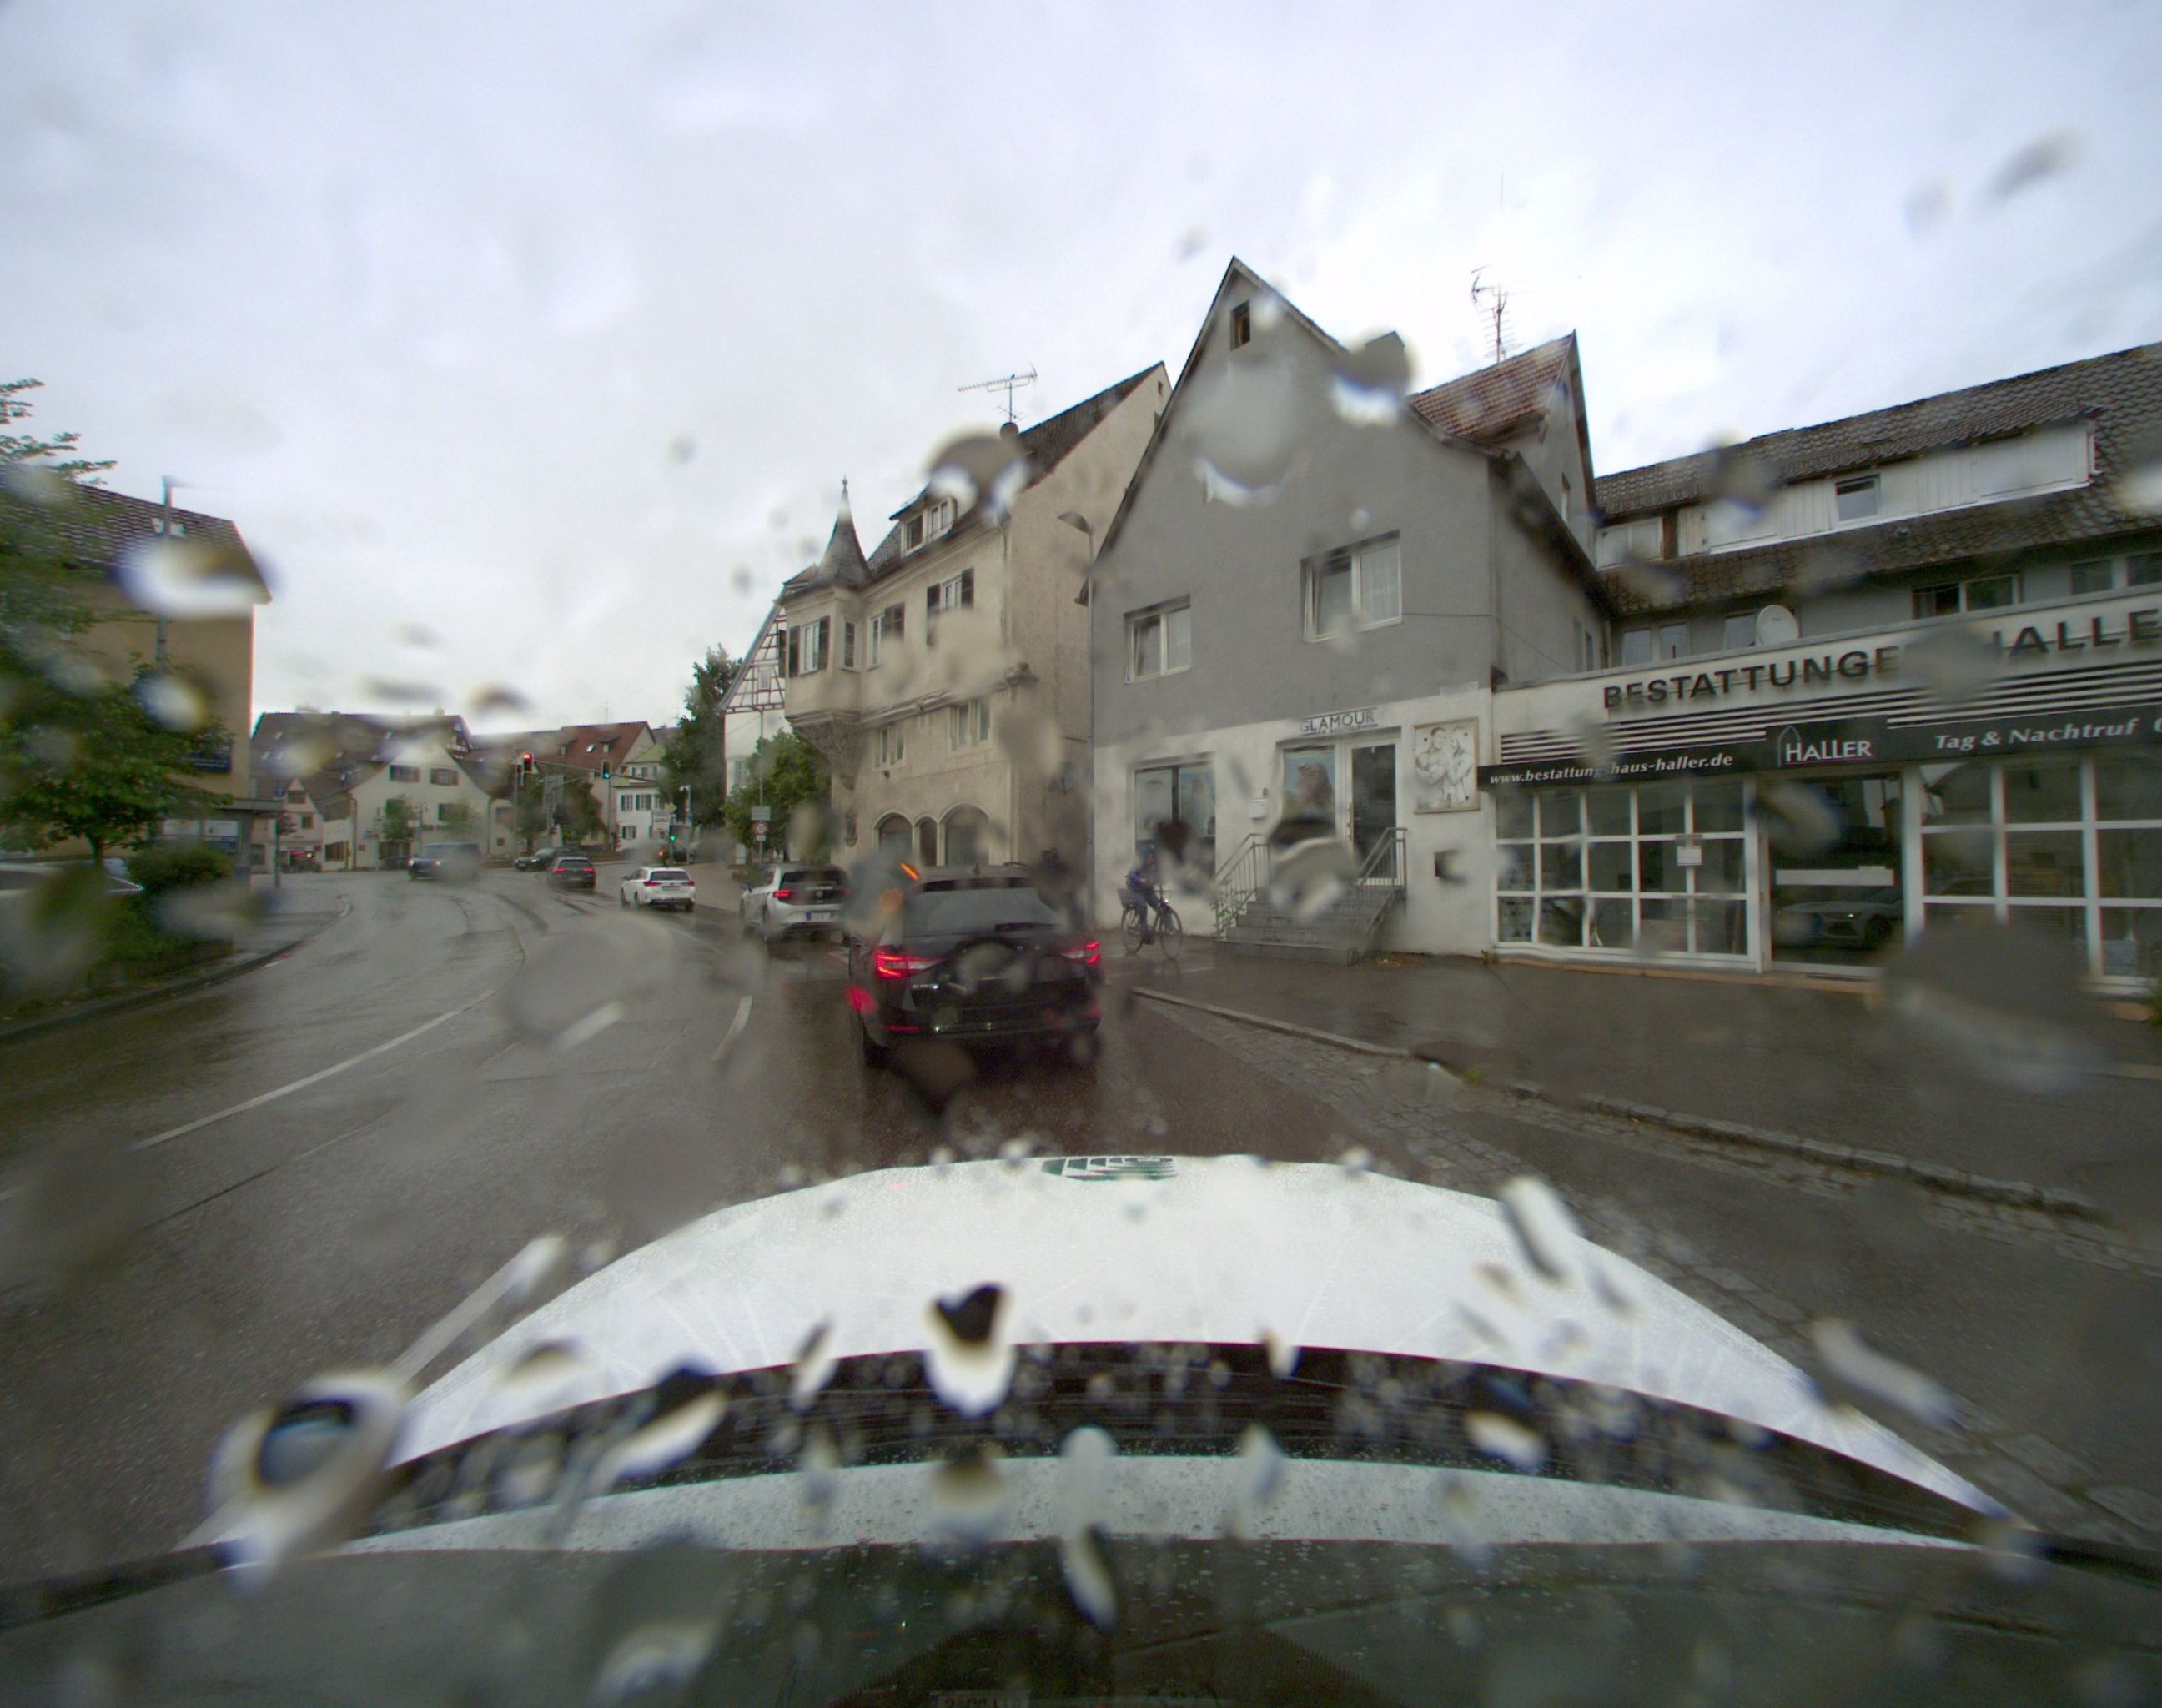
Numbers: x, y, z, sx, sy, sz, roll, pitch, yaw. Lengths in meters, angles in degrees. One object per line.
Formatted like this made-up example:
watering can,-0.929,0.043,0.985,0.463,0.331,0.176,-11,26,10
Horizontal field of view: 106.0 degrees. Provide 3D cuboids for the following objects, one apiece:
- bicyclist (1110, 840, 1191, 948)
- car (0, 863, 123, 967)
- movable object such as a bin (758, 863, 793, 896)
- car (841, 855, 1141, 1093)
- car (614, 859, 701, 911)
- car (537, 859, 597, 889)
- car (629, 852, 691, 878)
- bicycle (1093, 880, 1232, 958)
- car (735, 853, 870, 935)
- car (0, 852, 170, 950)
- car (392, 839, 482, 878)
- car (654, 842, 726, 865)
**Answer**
bicyclist,1.020,0.565,12.042,0.689,1.518,1.018,0,0,-39
car,-18.182,0.973,12.775,1.975,1.629,3.666,-1,-1,25
movable object such as a bin,-12.569,1.019,33.500,1.162,1.313,1.174,0,-1,-33
car,-1.144,0.757,7.431,1.892,1.448,4.330,1,0,-18
car,-14.683,0.991,28.130,1.900,1.596,4.276,1,0,-38
car,-24.464,0.919,38.709,2.010,1.302,3.955,1,0,-38
car,-27.284,0.717,52.882,1.571,1.524,3.446,-3,-1,15
bicycle,1.144,0.968,11.895,0.767,1.035,2.056,4,-7,-40
car,-5.939,0.745,17.083,1.868,1.473,3.961,1,0,-31
car,-23.786,1.099,17.690,1.937,1.824,4.968,2,6,33
car,-32.764,0.233,41.608,1.997,1.882,4.356,1,0,-15
car,-29.565,-0.008,61.644,1.974,1.591,4.507,-1,-1,36
